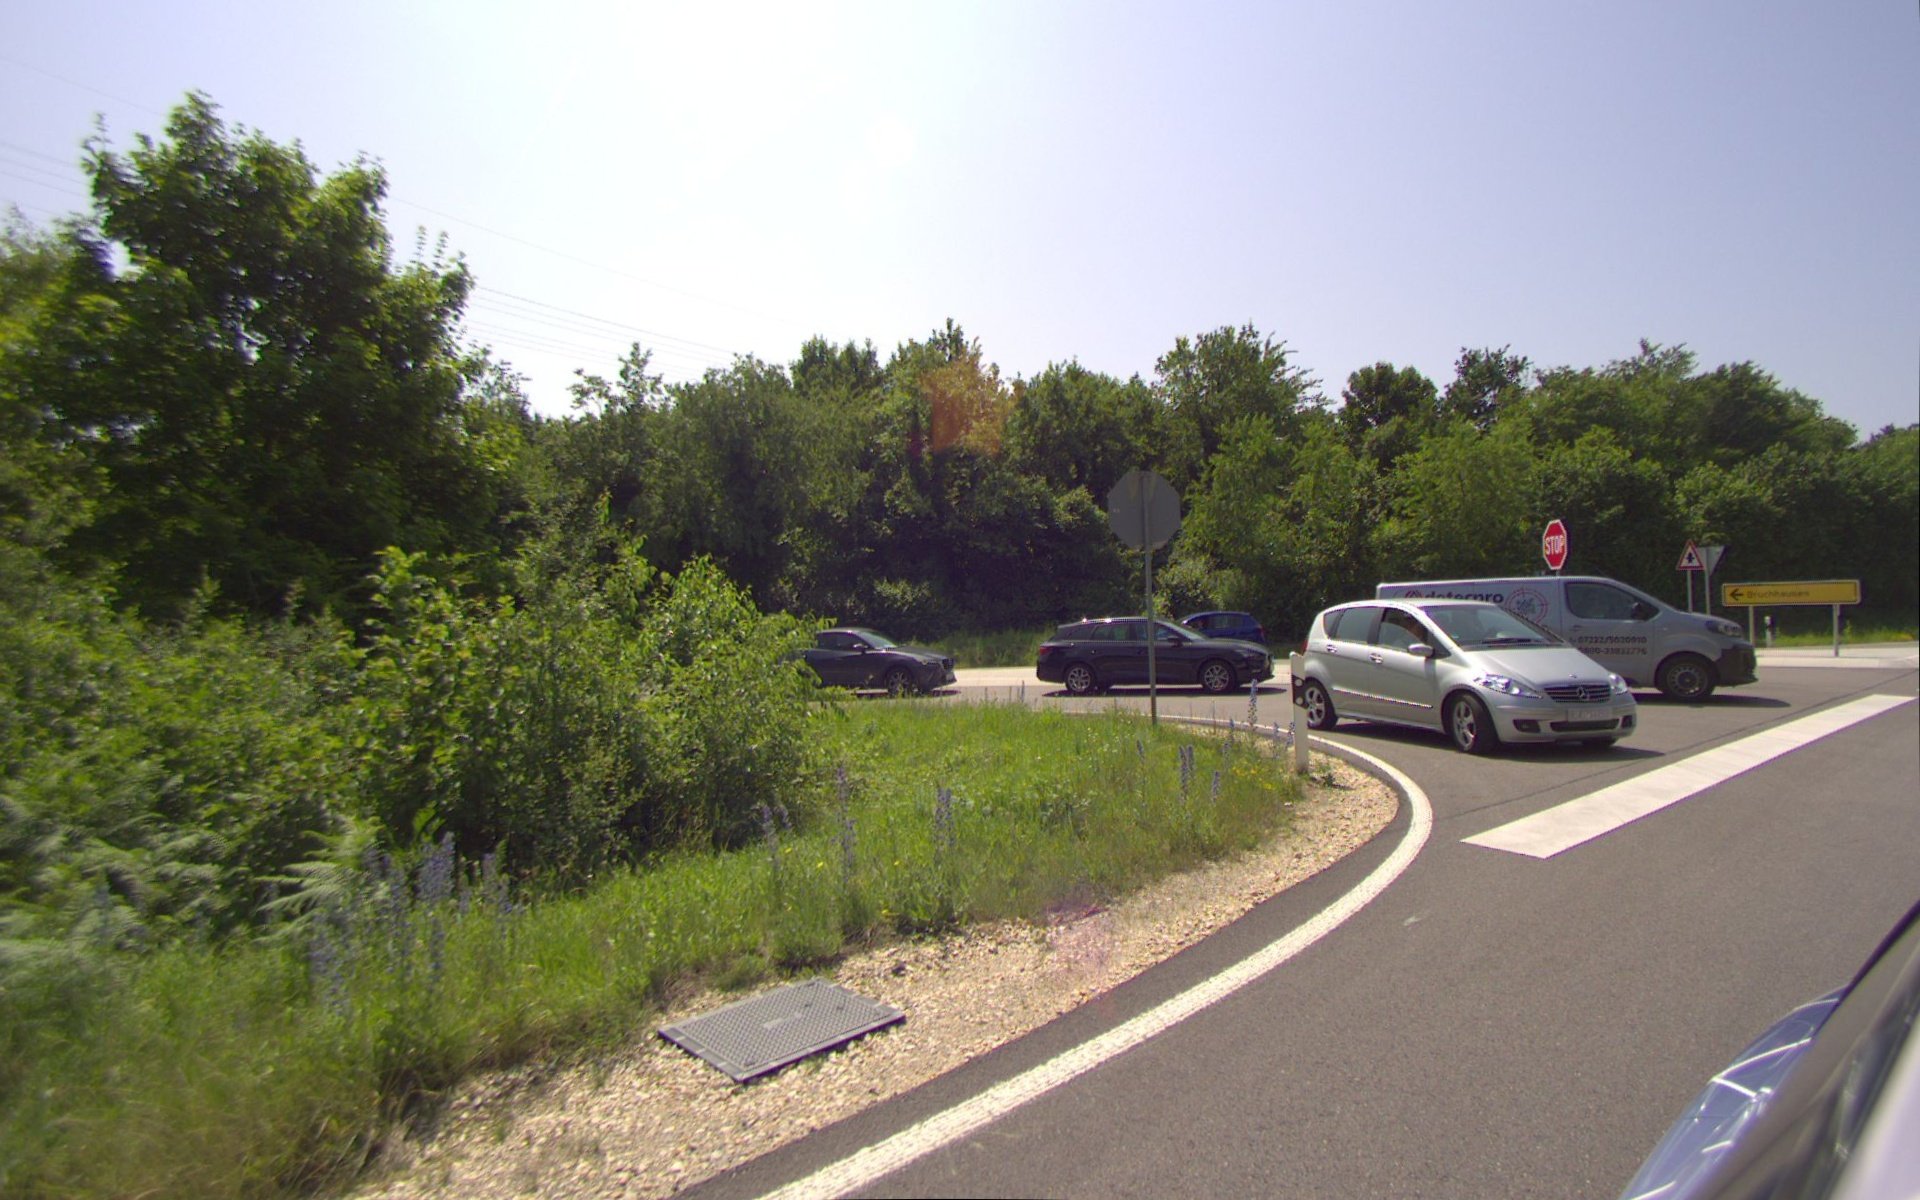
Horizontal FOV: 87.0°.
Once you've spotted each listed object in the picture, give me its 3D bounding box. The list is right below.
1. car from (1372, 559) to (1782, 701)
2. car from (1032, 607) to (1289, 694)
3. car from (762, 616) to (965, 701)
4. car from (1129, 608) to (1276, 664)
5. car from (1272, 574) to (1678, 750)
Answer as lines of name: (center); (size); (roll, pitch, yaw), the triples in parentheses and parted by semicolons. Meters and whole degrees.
car: (9.477, 0.453, 16.009); (5.189, 1.931, 1.991); (-2, 0, 32)
car: (3.834, 0.971, 19.548); (4.519, 1.493, 1.851); (-2, -1, 28)
car: (-2.116, 1.282, 22.354); (4.042, 1.618, 1.801); (-3, 0, 18)
car: (7.094, 1.055, 29.898); (3.871, 1.561, 1.808); (-1, -2, 2)
car: (5.507, 0.658, 11.509); (1.807, 1.600, 4.000); (-1, -2, -16)
